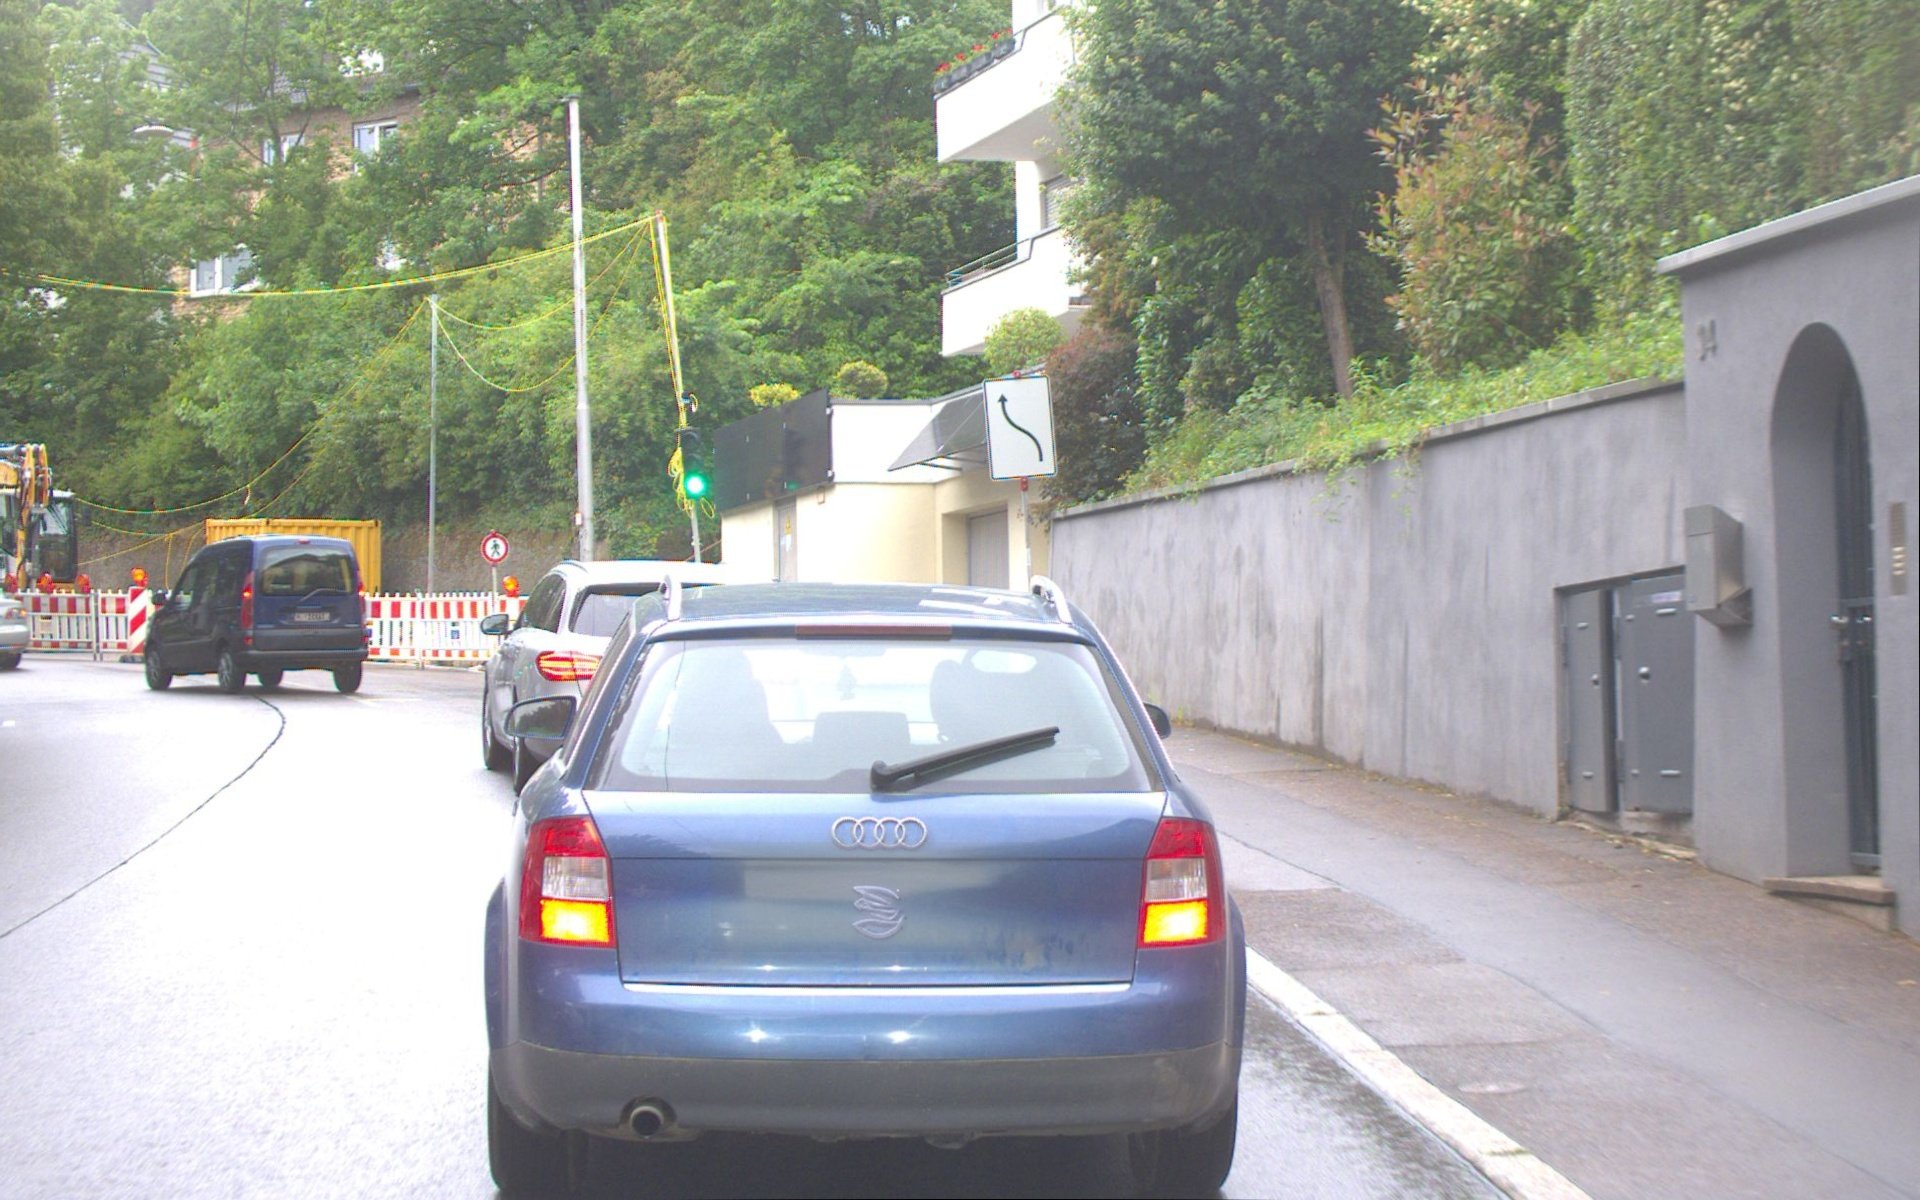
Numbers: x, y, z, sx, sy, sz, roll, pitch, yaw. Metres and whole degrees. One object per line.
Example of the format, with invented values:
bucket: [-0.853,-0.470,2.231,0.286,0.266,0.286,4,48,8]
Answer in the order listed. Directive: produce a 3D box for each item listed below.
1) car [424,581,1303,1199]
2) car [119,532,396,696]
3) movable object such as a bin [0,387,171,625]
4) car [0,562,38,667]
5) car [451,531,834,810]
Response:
car: [-0.163,0.686,9.011,1.786,1.437,3.963,1,1,1]
car: [-8.433,0.154,41.034,1.993,1.787,4.000,-3,1,-30]
movable object such as a bin: [-16.954,-1.659,61.710,2.820,4.000,7.326,-1,1,-36]
car: [-15.248,0.244,50.851,1.721,1.481,4.075,-3,1,-36]
car: [-2.172,0.369,22.393,1.925,1.612,4.322,-1,1,-13]
